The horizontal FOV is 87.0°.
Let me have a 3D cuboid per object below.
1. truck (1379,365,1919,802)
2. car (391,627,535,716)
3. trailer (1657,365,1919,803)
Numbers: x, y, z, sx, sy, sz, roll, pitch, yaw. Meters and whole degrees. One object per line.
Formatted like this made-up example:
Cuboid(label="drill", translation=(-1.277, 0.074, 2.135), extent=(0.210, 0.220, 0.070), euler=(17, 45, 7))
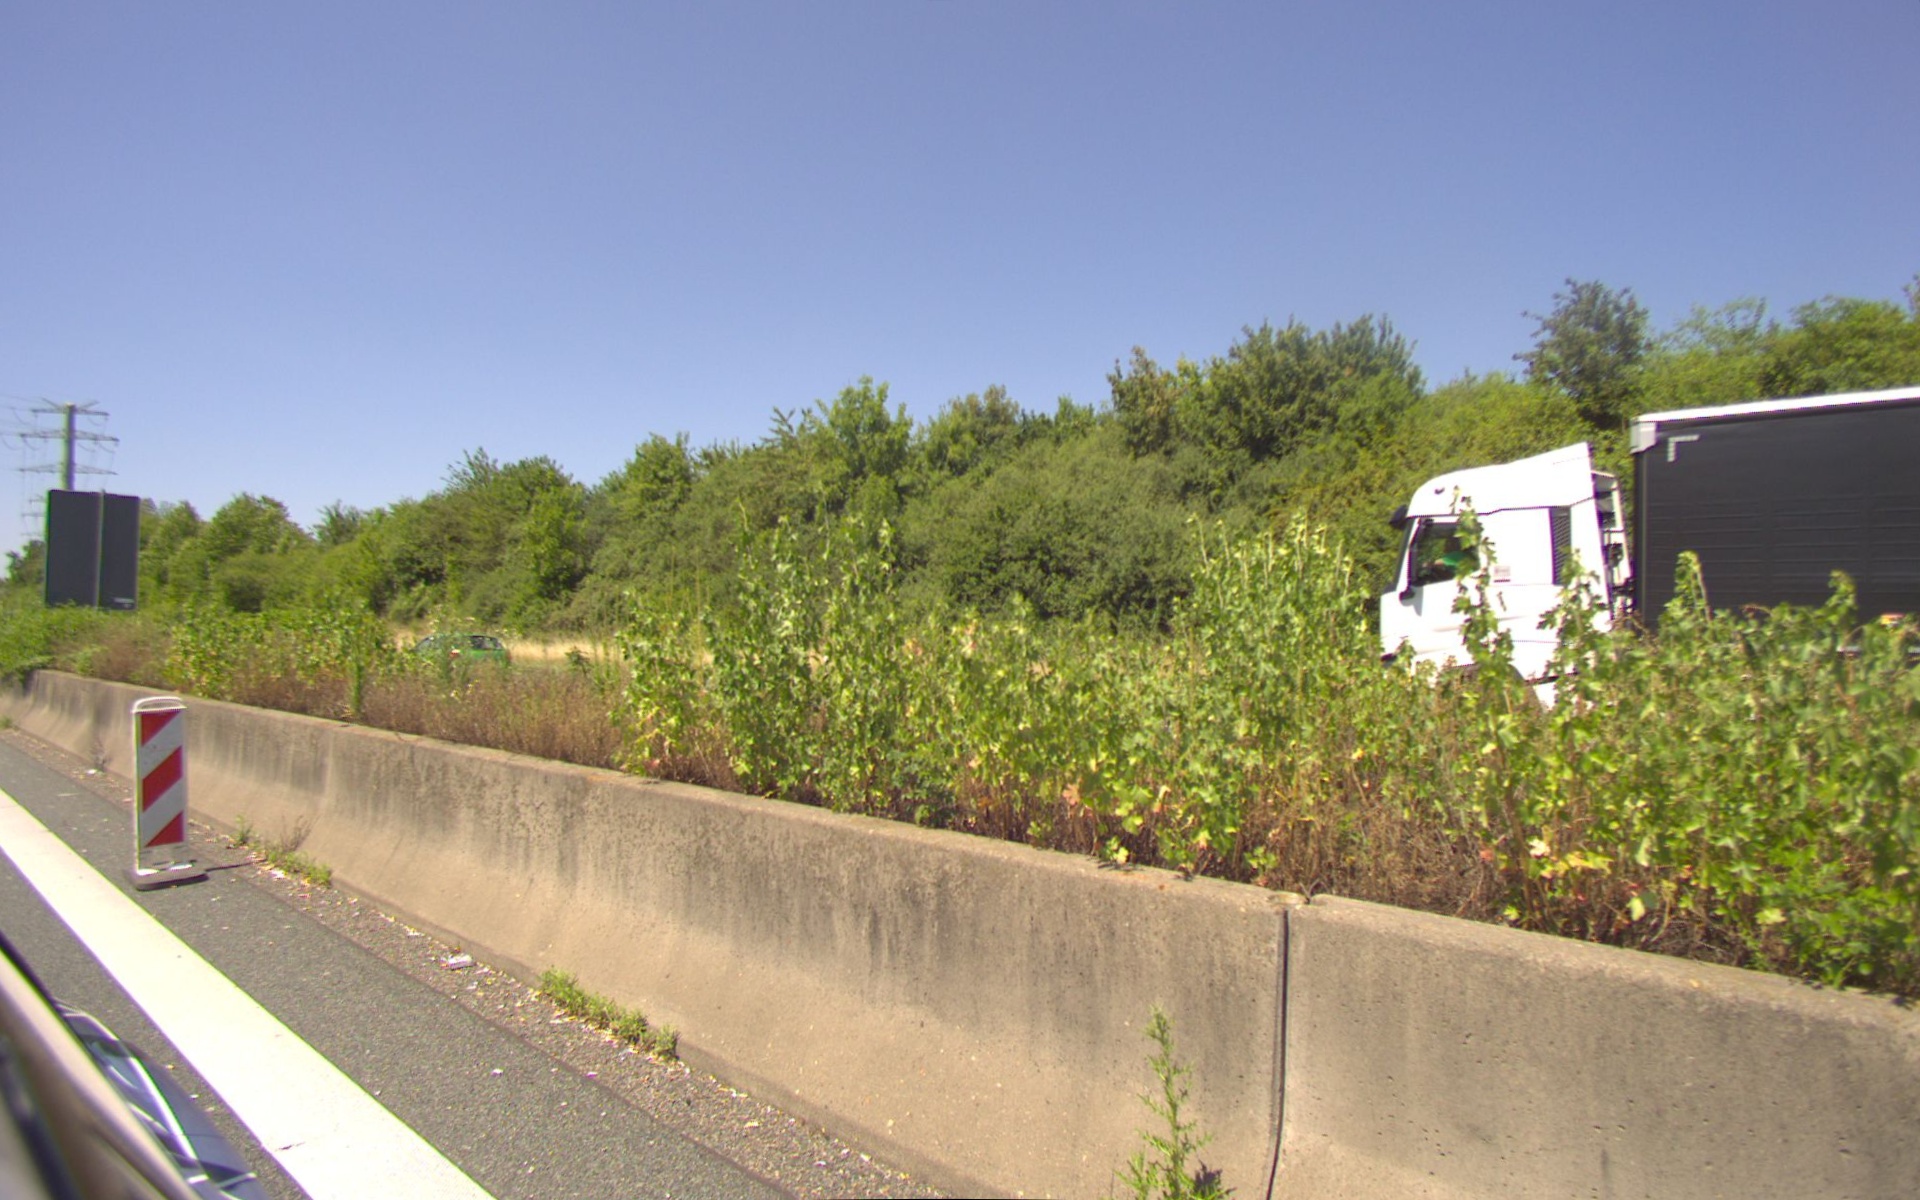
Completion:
Cuboid(label="truck", translation=(8.684, -0.064, 11.924), extent=(6.407, 4.199, 2.723), euler=(-1, -5, 41))
Cuboid(label="car", translation=(-12.319, 1.695, 25.038), extent=(3.677, 2.029, 1.882), euler=(-1, -2, 41))
Cuboid(label="trailer", translation=(13.863, -0.158, 7.430), extent=(14.188, 4.199, 2.724), euler=(-1, -5, 41))
